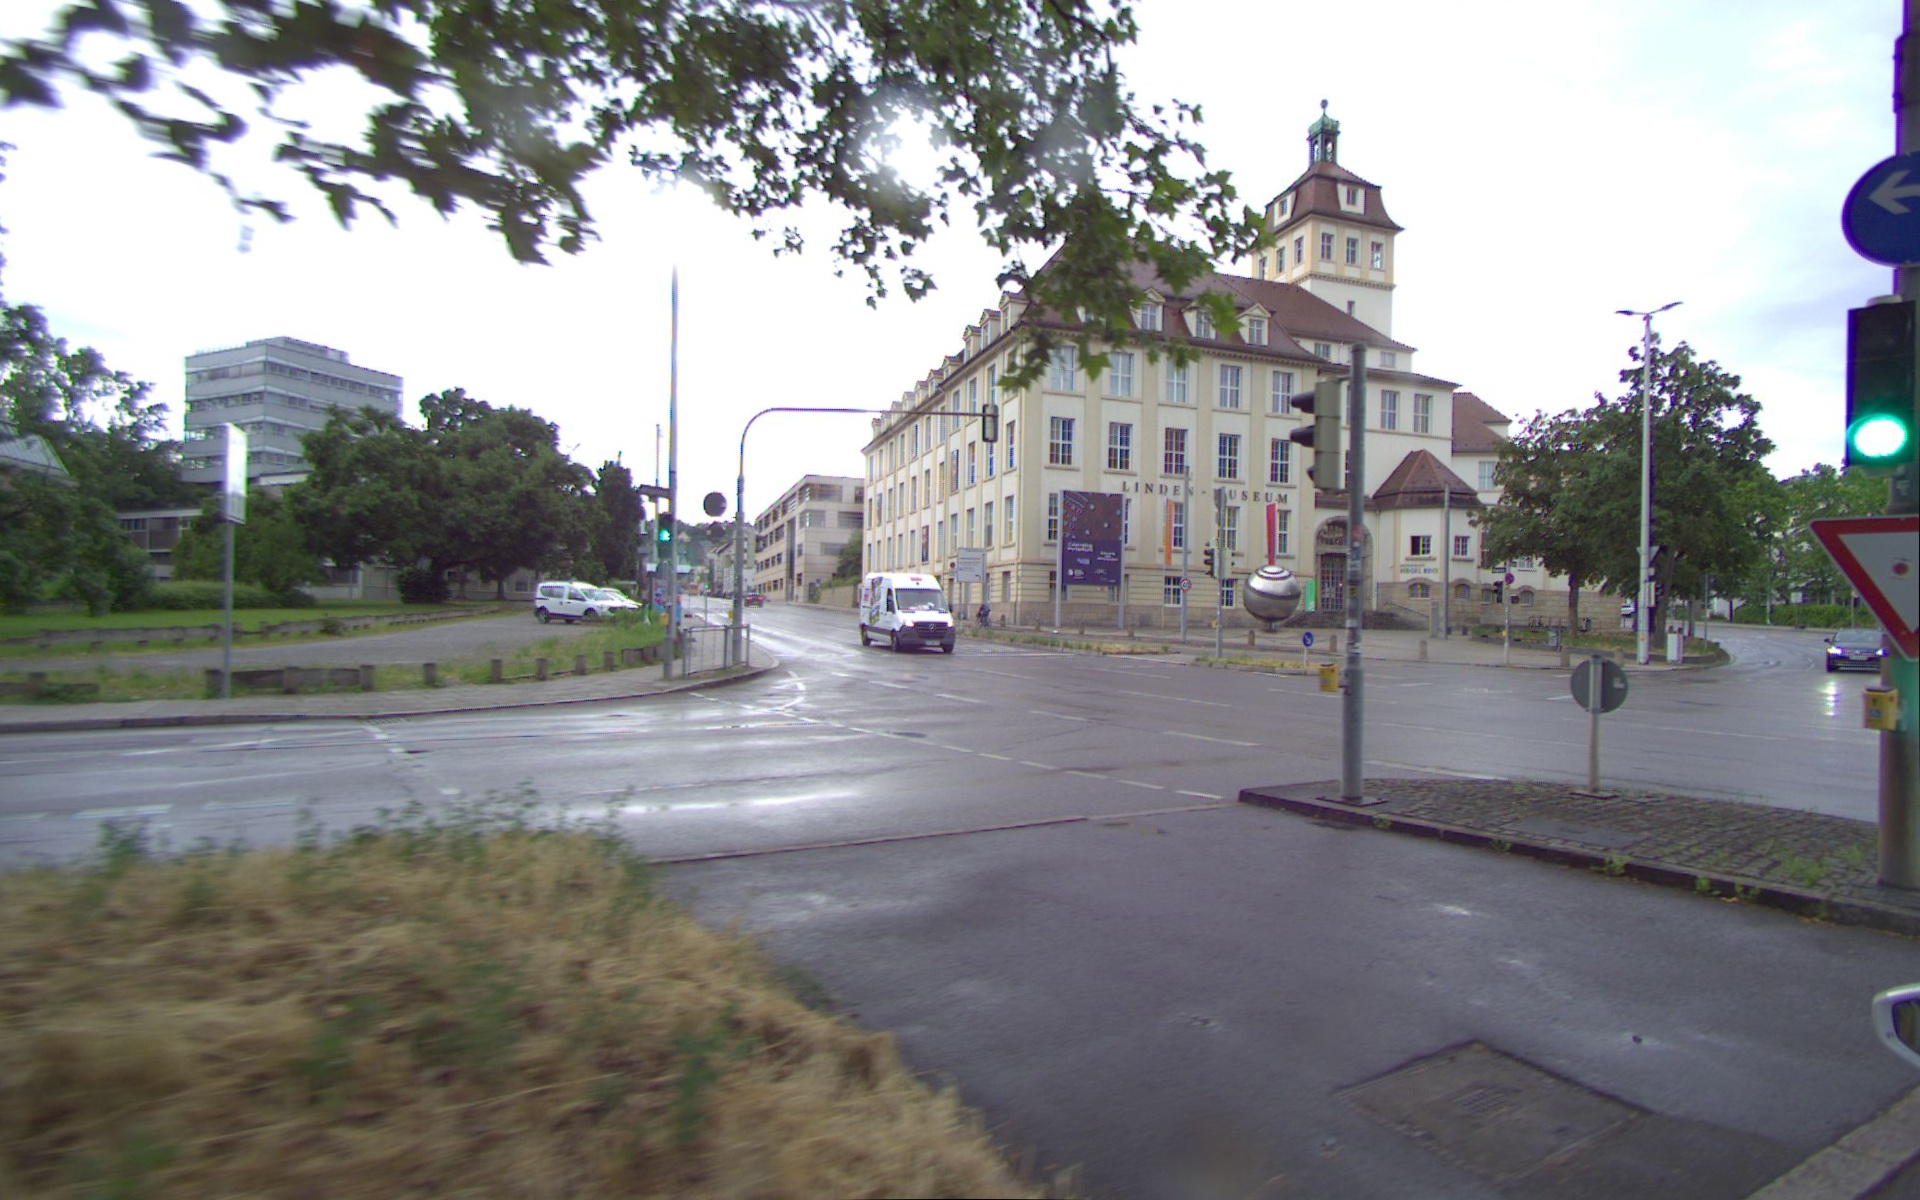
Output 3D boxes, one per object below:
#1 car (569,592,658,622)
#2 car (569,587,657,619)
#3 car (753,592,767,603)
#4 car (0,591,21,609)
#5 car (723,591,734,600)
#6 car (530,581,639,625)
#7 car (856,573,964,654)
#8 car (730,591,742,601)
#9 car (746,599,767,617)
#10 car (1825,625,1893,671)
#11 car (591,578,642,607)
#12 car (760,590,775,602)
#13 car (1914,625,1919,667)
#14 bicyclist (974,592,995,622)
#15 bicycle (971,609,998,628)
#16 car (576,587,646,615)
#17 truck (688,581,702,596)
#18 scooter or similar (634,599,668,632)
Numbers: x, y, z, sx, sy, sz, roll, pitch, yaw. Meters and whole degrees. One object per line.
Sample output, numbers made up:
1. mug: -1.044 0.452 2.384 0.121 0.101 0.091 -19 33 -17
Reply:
1. car: -17.888 0.390 51.923 3.993 1.461 1.855 1 -1 16
2. car: -17.886 0.166 51.826 3.919 1.434 1.835 3 0 16
3. car: -32.787 -0.356 164.482 1.815 1.581 3.985 3 1 -17
4. car: -65.270 -0.072 66.986 3.500 1.158 1.586 3 0 -18
5. car: -45.754 -0.838 198.421 1.815 1.581 3.985 3 1 -17
6. car: -16.400 0.124 43.837 4.420 1.791 1.833 1 -1 24
7. car: -1.852 0.423 34.560 2.034 2.527 6.010 0 0 -20
8. car: -40.899 -0.733 183.150 1.815 1.581 3.985 3 1 -17
9. car: -21.960 0.826 108.305 1.867 1.647 3.634 3 1 -15
10. car: 34.253 1.787 38.262 1.848 1.585 4.251 0 -1 43
11. car: -22.168 -0.442 64.707 1.838 1.765 4.029 2 -1 -39
12. car: -27.884 -0.557 145.656 1.814 1.581 3.988 3 1 -14
13. car: 38.369 1.812 38.861 1.767 1.606 3.983 0 -1 38
14. bicyclist: 1.447 0.403 58.895 0.694 1.654 1.119 3 0 -31
15. bicycle: 1.431 1.060 58.887 0.641 1.070 1.805 2 -1 -32
16. car: -20.942 0.050 60.289 4.004 1.461 1.850 2 0 32
17. truck: -66.276 -2.916 250.902 3.125 3.425 6.478 3 0 -17
18. scooter or similar: -11.620 0.573 37.771 0.541 1.182 1.253 3 0 20
